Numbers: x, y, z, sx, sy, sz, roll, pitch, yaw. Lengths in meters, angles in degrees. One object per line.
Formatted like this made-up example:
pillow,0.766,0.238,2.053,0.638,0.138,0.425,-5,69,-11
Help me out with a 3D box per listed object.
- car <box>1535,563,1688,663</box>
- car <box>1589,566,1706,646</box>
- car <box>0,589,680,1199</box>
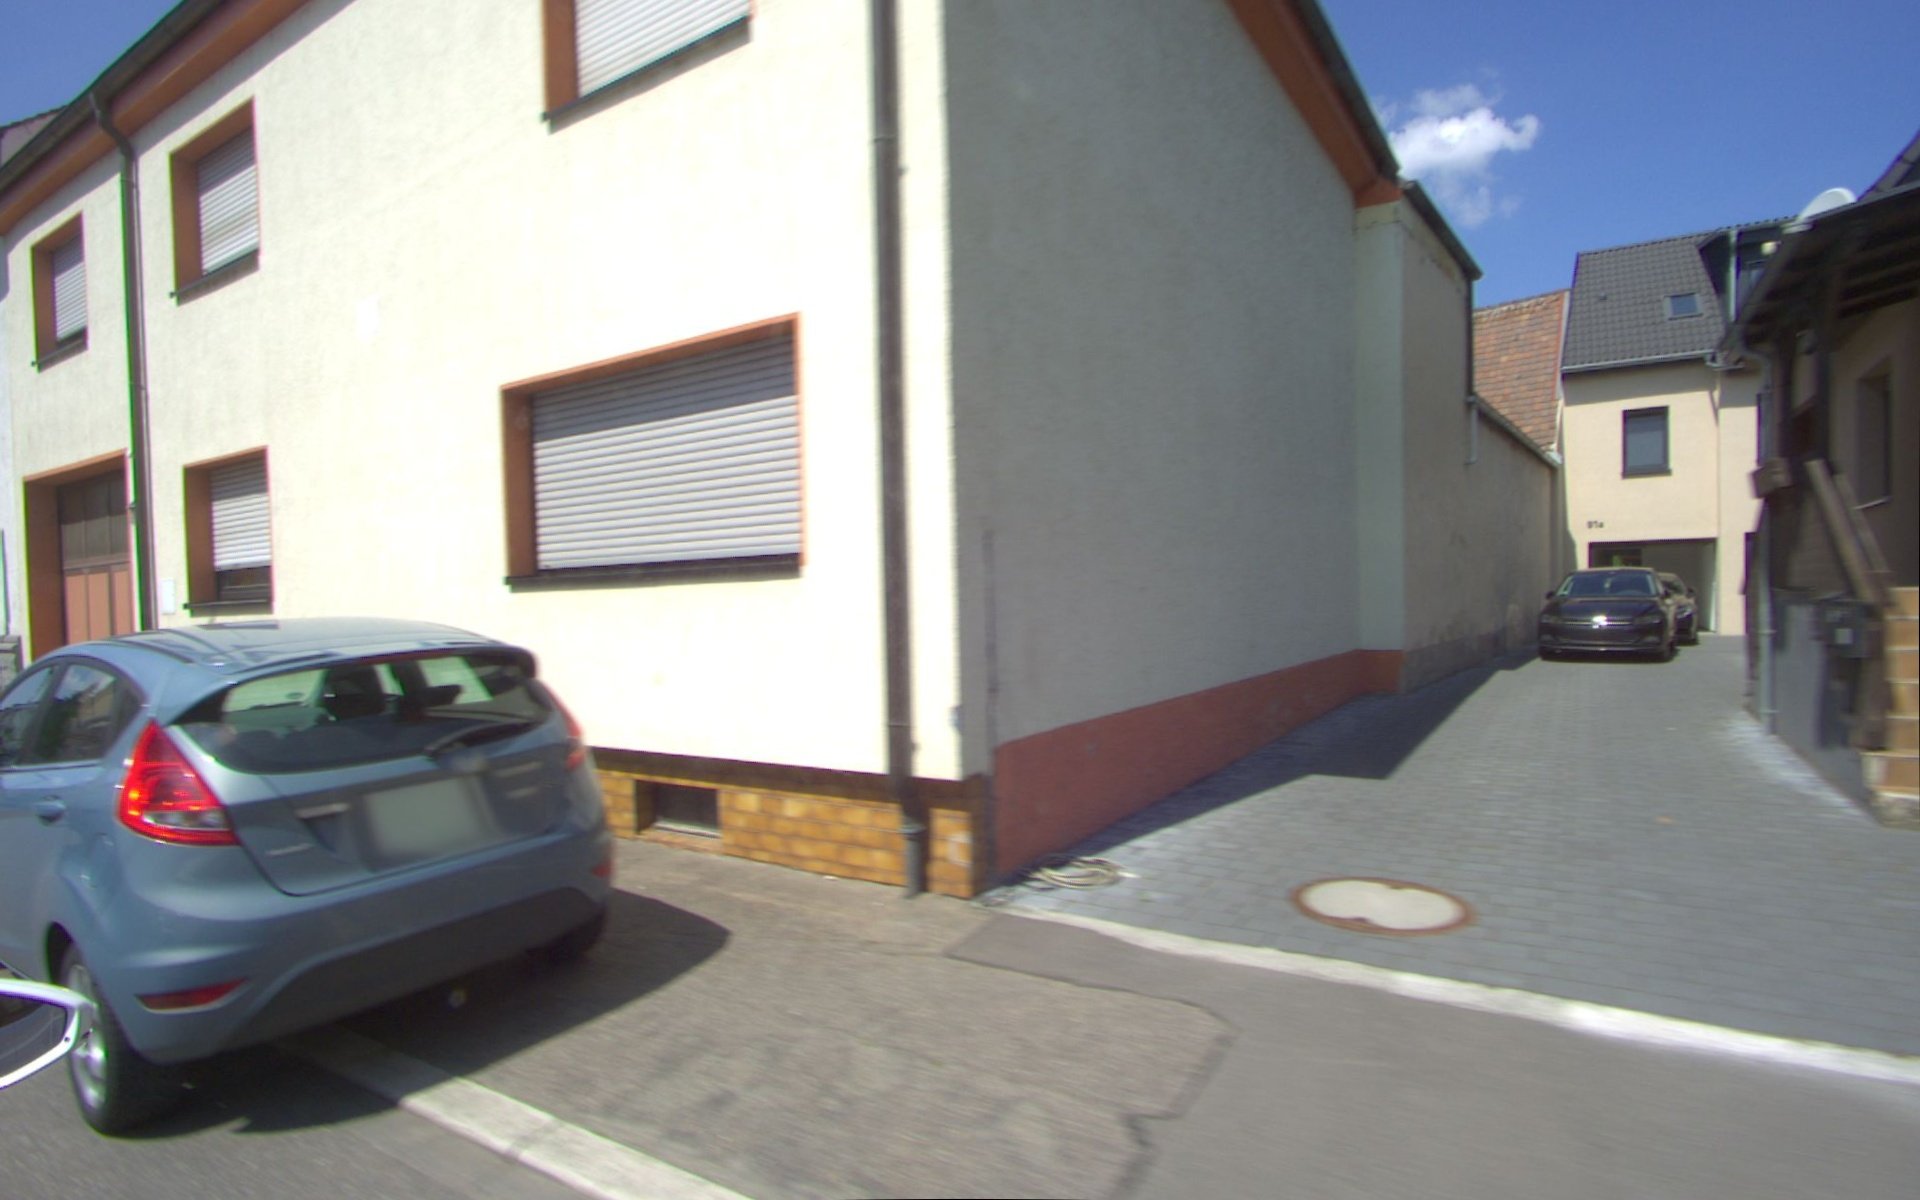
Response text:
car,10.856,0.200,16.560,1.682,1.439,4.106,-1,-1,39
car,13.984,0.126,20.274,1.681,1.439,4.079,-1,-1,38
car,-3.118,0.795,4.325,3.702,1.502,1.714,-1,4,37
